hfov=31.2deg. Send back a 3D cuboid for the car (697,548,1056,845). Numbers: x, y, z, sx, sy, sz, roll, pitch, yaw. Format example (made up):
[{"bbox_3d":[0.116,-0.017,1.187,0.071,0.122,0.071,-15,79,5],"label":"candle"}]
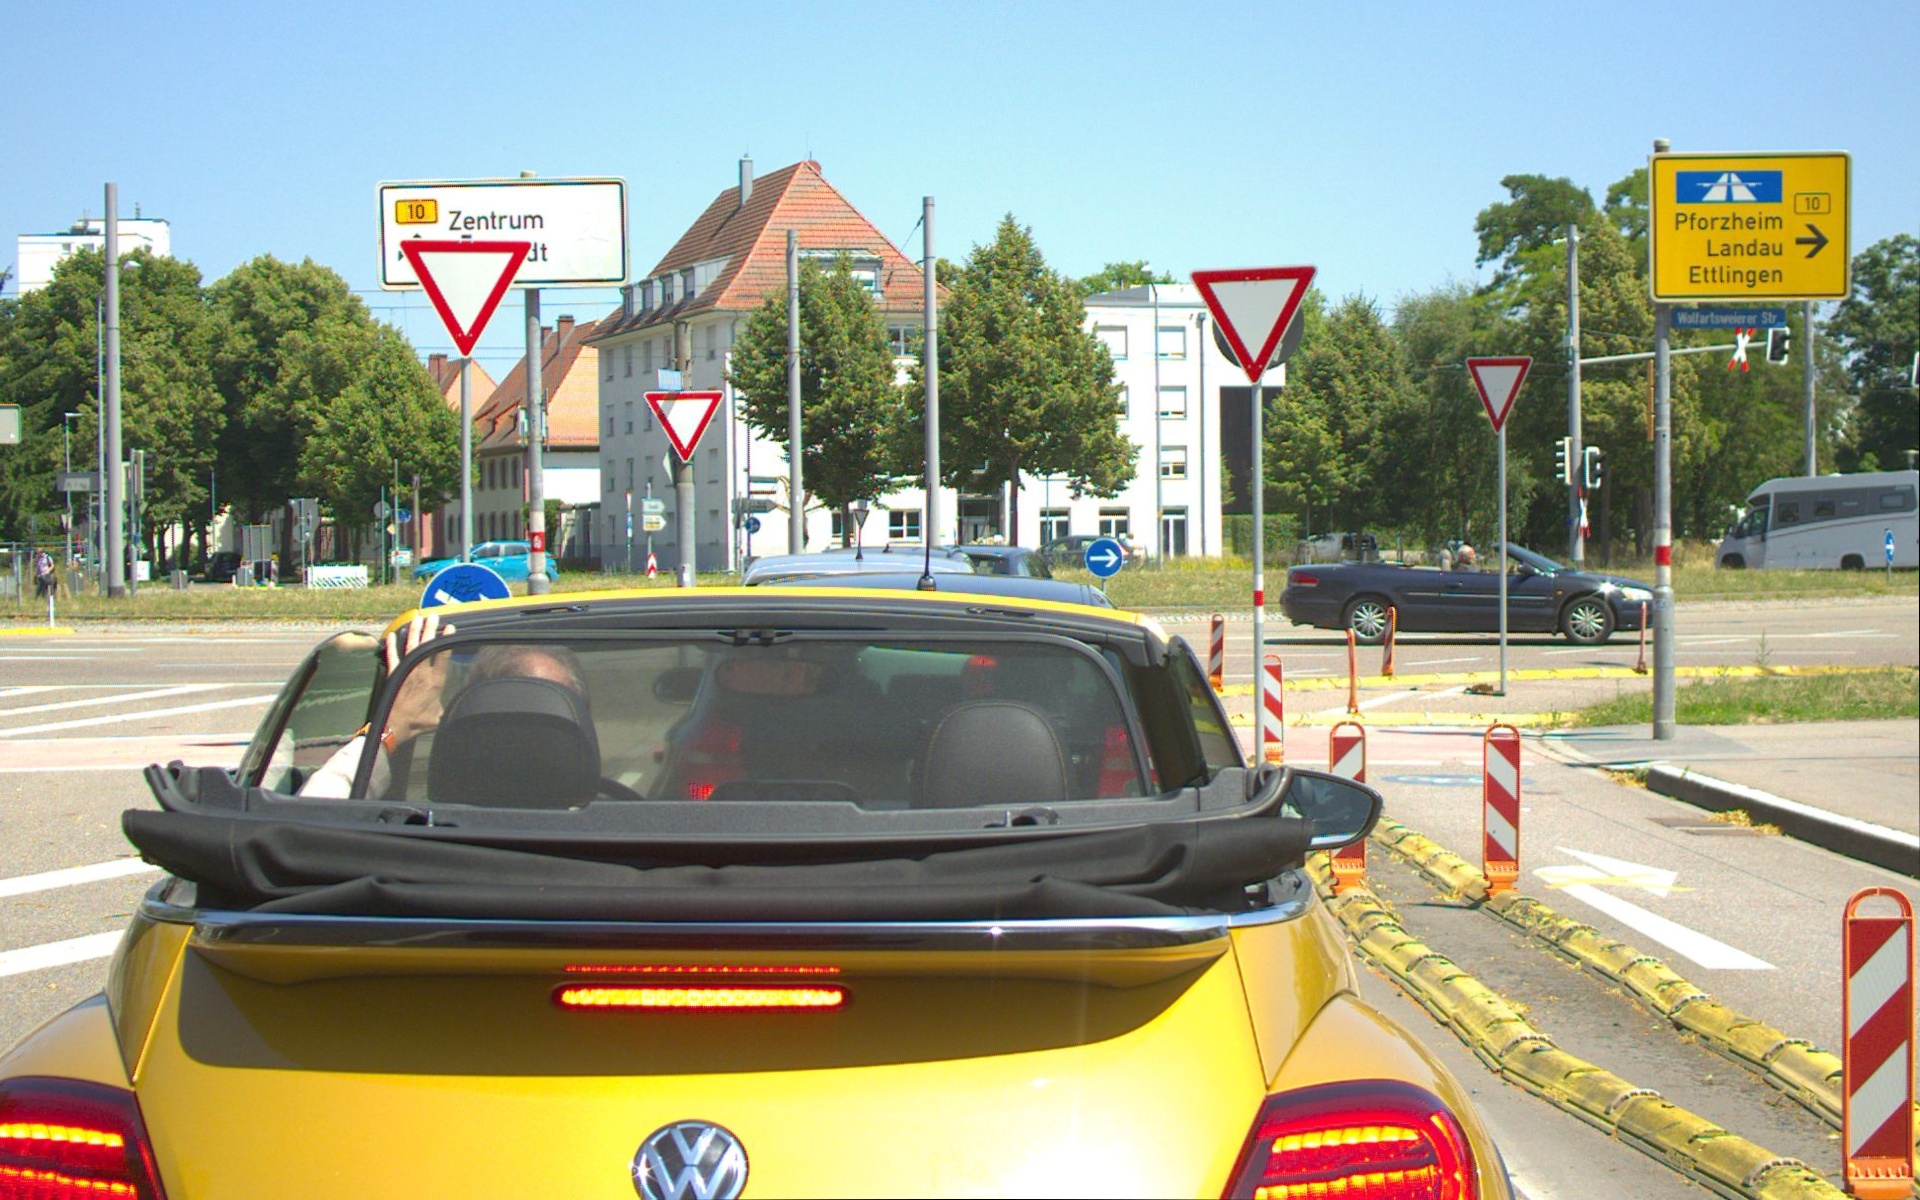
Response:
[{"bbox_3d":[-0.423,0.441,18.681,1.736,1.437,4.000,0,1,-1],"label":"car"}]

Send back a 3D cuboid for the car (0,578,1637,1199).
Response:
[{"bbox_3d":[-0.321,0.696,4.856,1.752,1.417,3.778,0,1,-1],"label":"car"}]

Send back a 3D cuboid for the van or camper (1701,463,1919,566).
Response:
[{"bbox_3d":[23.881,-2.297,93.325,2.506,2.684,7.510,0,1,-38],"label":"van or camper"}]

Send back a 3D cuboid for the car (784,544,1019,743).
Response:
[{"bbox_3d":[-0.450,0.292,27.482,1.736,1.472,4.000,0,1,-1],"label":"car"}]

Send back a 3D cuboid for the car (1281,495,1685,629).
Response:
[{"bbox_3d":[6.604,-0.493,43.556,4.939,1.650,1.999,0,1,9],"label":"car"}]

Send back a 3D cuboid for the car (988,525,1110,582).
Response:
[{"bbox_3d":[2.520,-1.314,96.769,3.219,1.601,1.650,0,1,10],"label":"car"}]

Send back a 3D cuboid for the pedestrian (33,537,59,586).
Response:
[{"bbox_3d":[-29.325,-1.246,110.333,0.498,1.558,0.591,0,1,33],"label":"pedestrian"}]

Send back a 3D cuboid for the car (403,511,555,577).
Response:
[{"bbox_3d":[-13.747,-1.592,98.253,3.986,1.831,2.001,0,1,-20],"label":"car"}]

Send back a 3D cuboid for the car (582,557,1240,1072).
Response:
[{"bbox_3d":[-0.157,0.579,11.668,1.848,1.437,4.000,0,1,-1],"label":"car"}]
